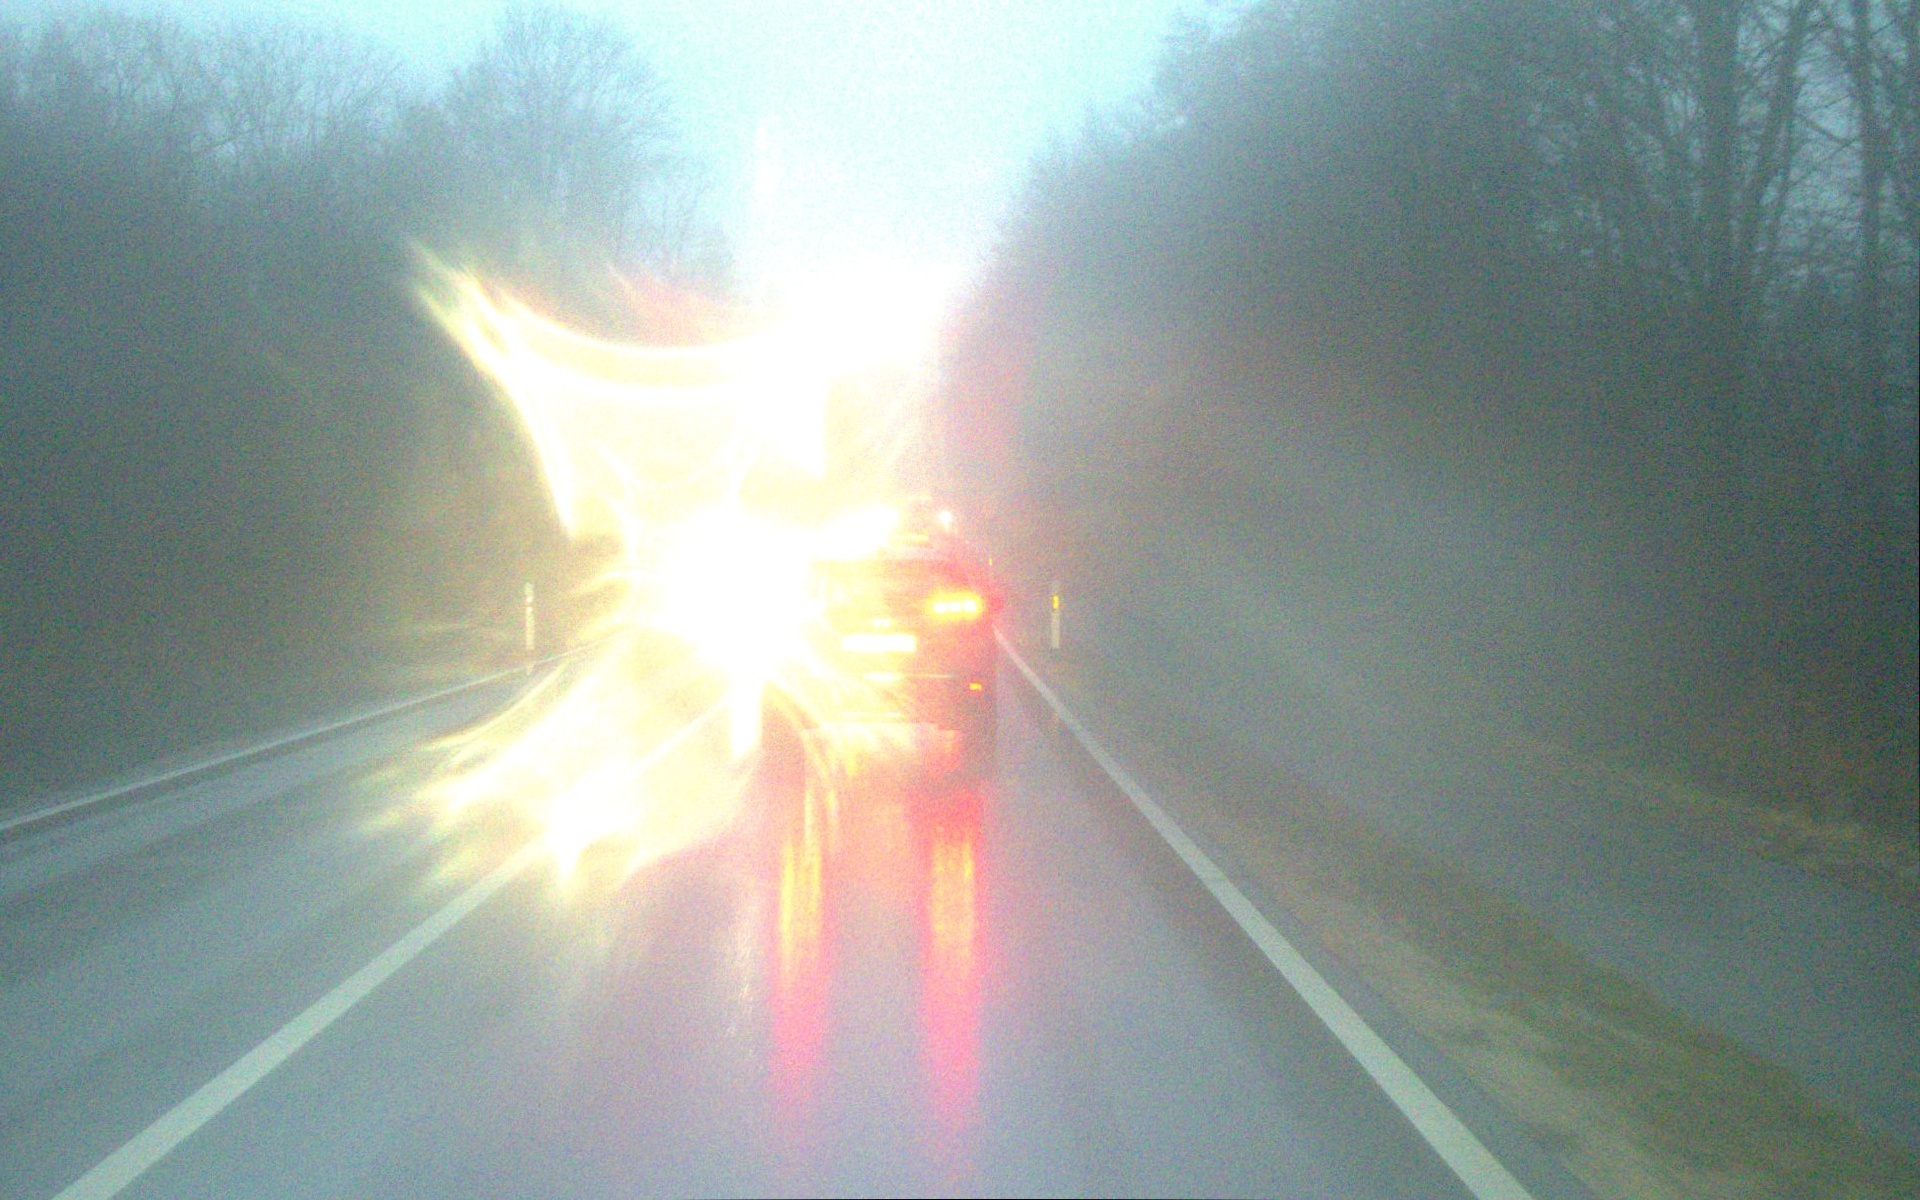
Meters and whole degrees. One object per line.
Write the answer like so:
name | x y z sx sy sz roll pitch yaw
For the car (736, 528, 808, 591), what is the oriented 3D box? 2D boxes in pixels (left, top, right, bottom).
car | -4.761 -1.055 87.427 1.748 1.547 3.994 0 2 -2

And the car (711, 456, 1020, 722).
car | -0.729 -0.142 27.177 2.198 1.871 4.827 1 1 -1
